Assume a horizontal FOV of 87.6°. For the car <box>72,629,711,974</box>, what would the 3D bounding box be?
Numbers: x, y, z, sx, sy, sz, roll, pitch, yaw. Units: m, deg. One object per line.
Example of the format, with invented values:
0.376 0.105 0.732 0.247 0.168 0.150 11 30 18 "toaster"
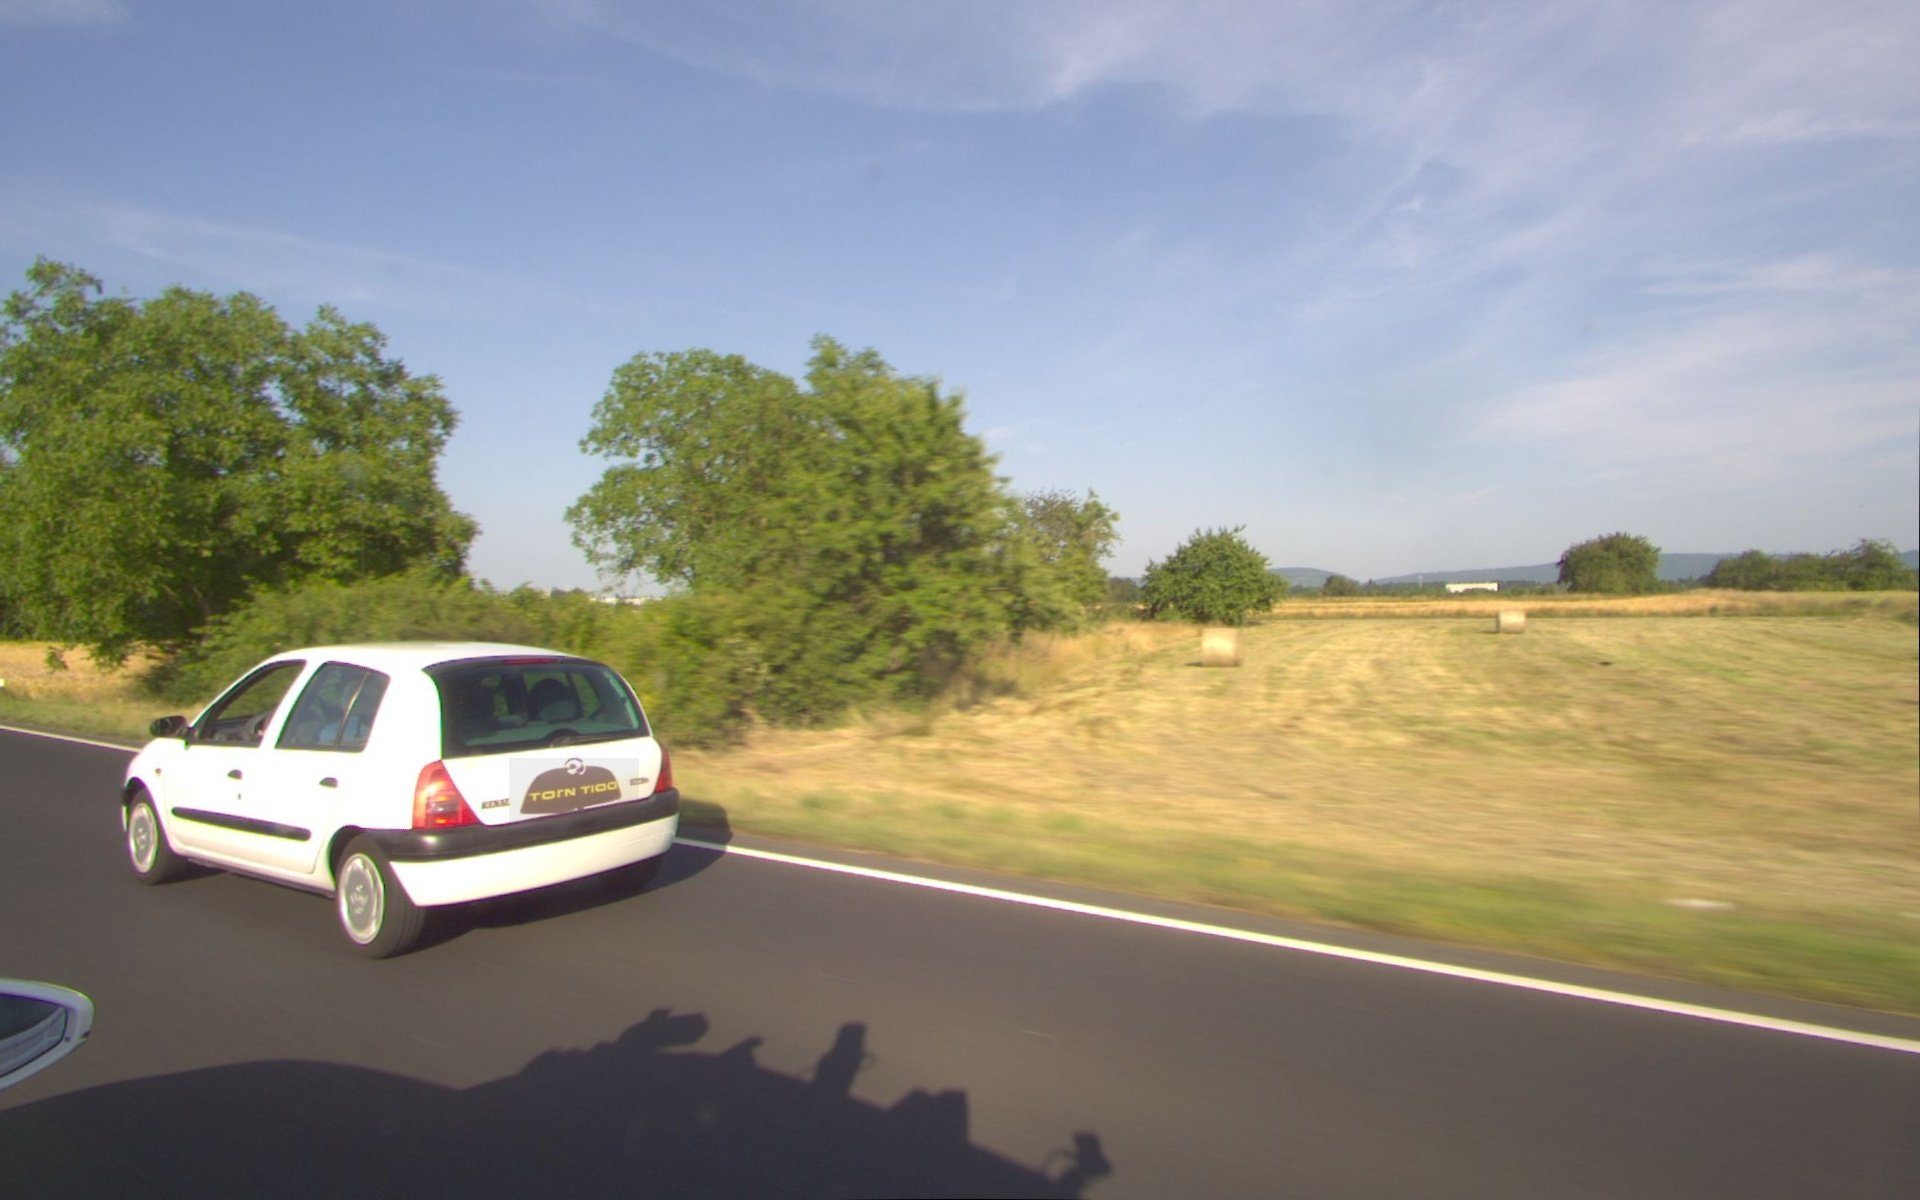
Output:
-3.422 0.892 5.823 3.896 1.405 1.614 -2 -2 33 "car"
